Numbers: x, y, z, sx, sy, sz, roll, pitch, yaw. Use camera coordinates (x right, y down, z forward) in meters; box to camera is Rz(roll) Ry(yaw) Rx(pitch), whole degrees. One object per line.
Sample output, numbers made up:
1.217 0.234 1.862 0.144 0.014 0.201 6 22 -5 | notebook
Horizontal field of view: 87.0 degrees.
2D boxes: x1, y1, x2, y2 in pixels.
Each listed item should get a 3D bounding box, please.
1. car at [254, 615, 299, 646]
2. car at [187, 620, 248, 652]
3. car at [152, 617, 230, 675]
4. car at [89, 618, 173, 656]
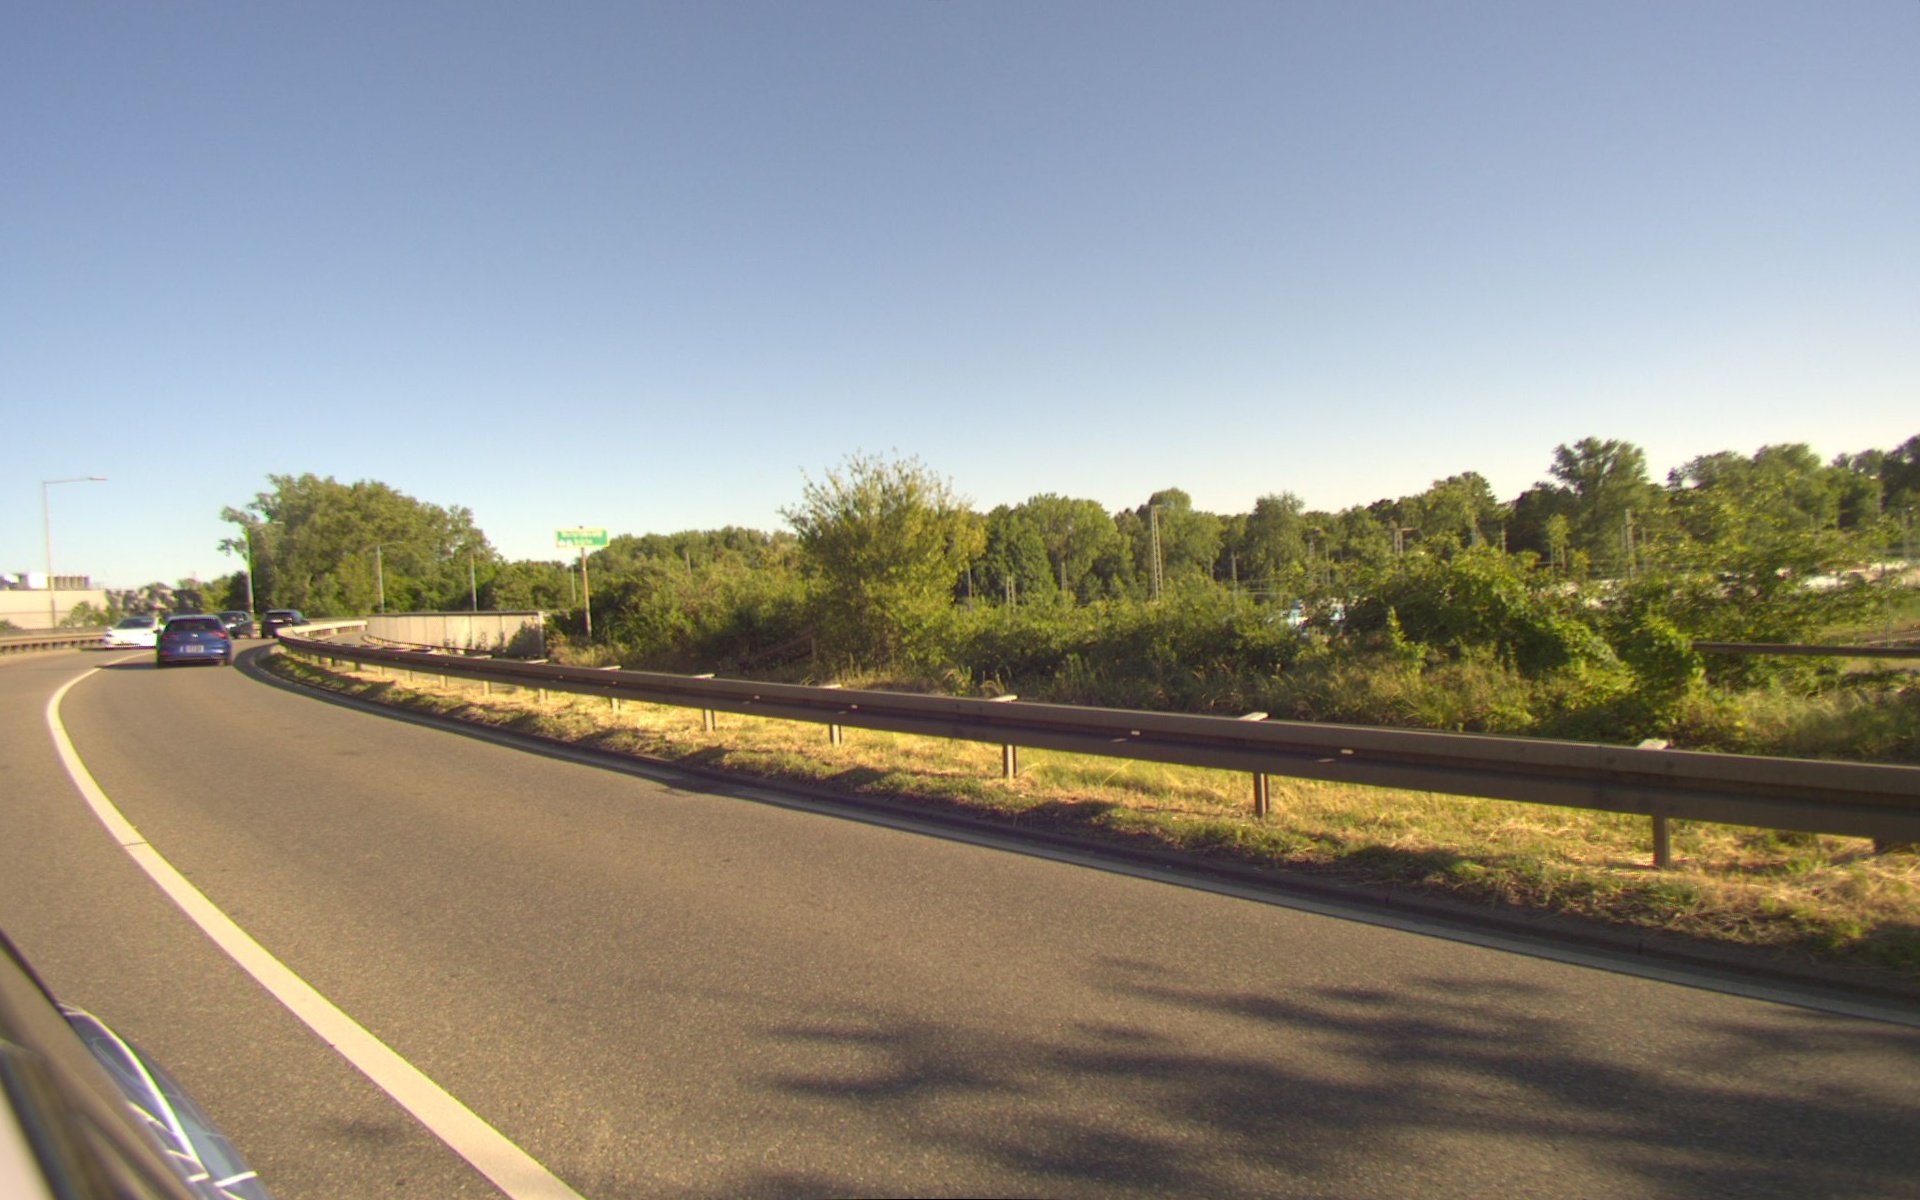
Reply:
-39.987 1.735 59.248 1.655 1.668 3.871 -1 0 -26 | car
-44.353 2.121 60.556 1.656 1.717 3.615 -1 0 -14 | car
-22.097 1.255 29.058 1.657 1.461 4.008 -1 0 -38 | car
-36.795 1.601 45.017 2.114 1.579 4.211 0 -1 -28 | car
